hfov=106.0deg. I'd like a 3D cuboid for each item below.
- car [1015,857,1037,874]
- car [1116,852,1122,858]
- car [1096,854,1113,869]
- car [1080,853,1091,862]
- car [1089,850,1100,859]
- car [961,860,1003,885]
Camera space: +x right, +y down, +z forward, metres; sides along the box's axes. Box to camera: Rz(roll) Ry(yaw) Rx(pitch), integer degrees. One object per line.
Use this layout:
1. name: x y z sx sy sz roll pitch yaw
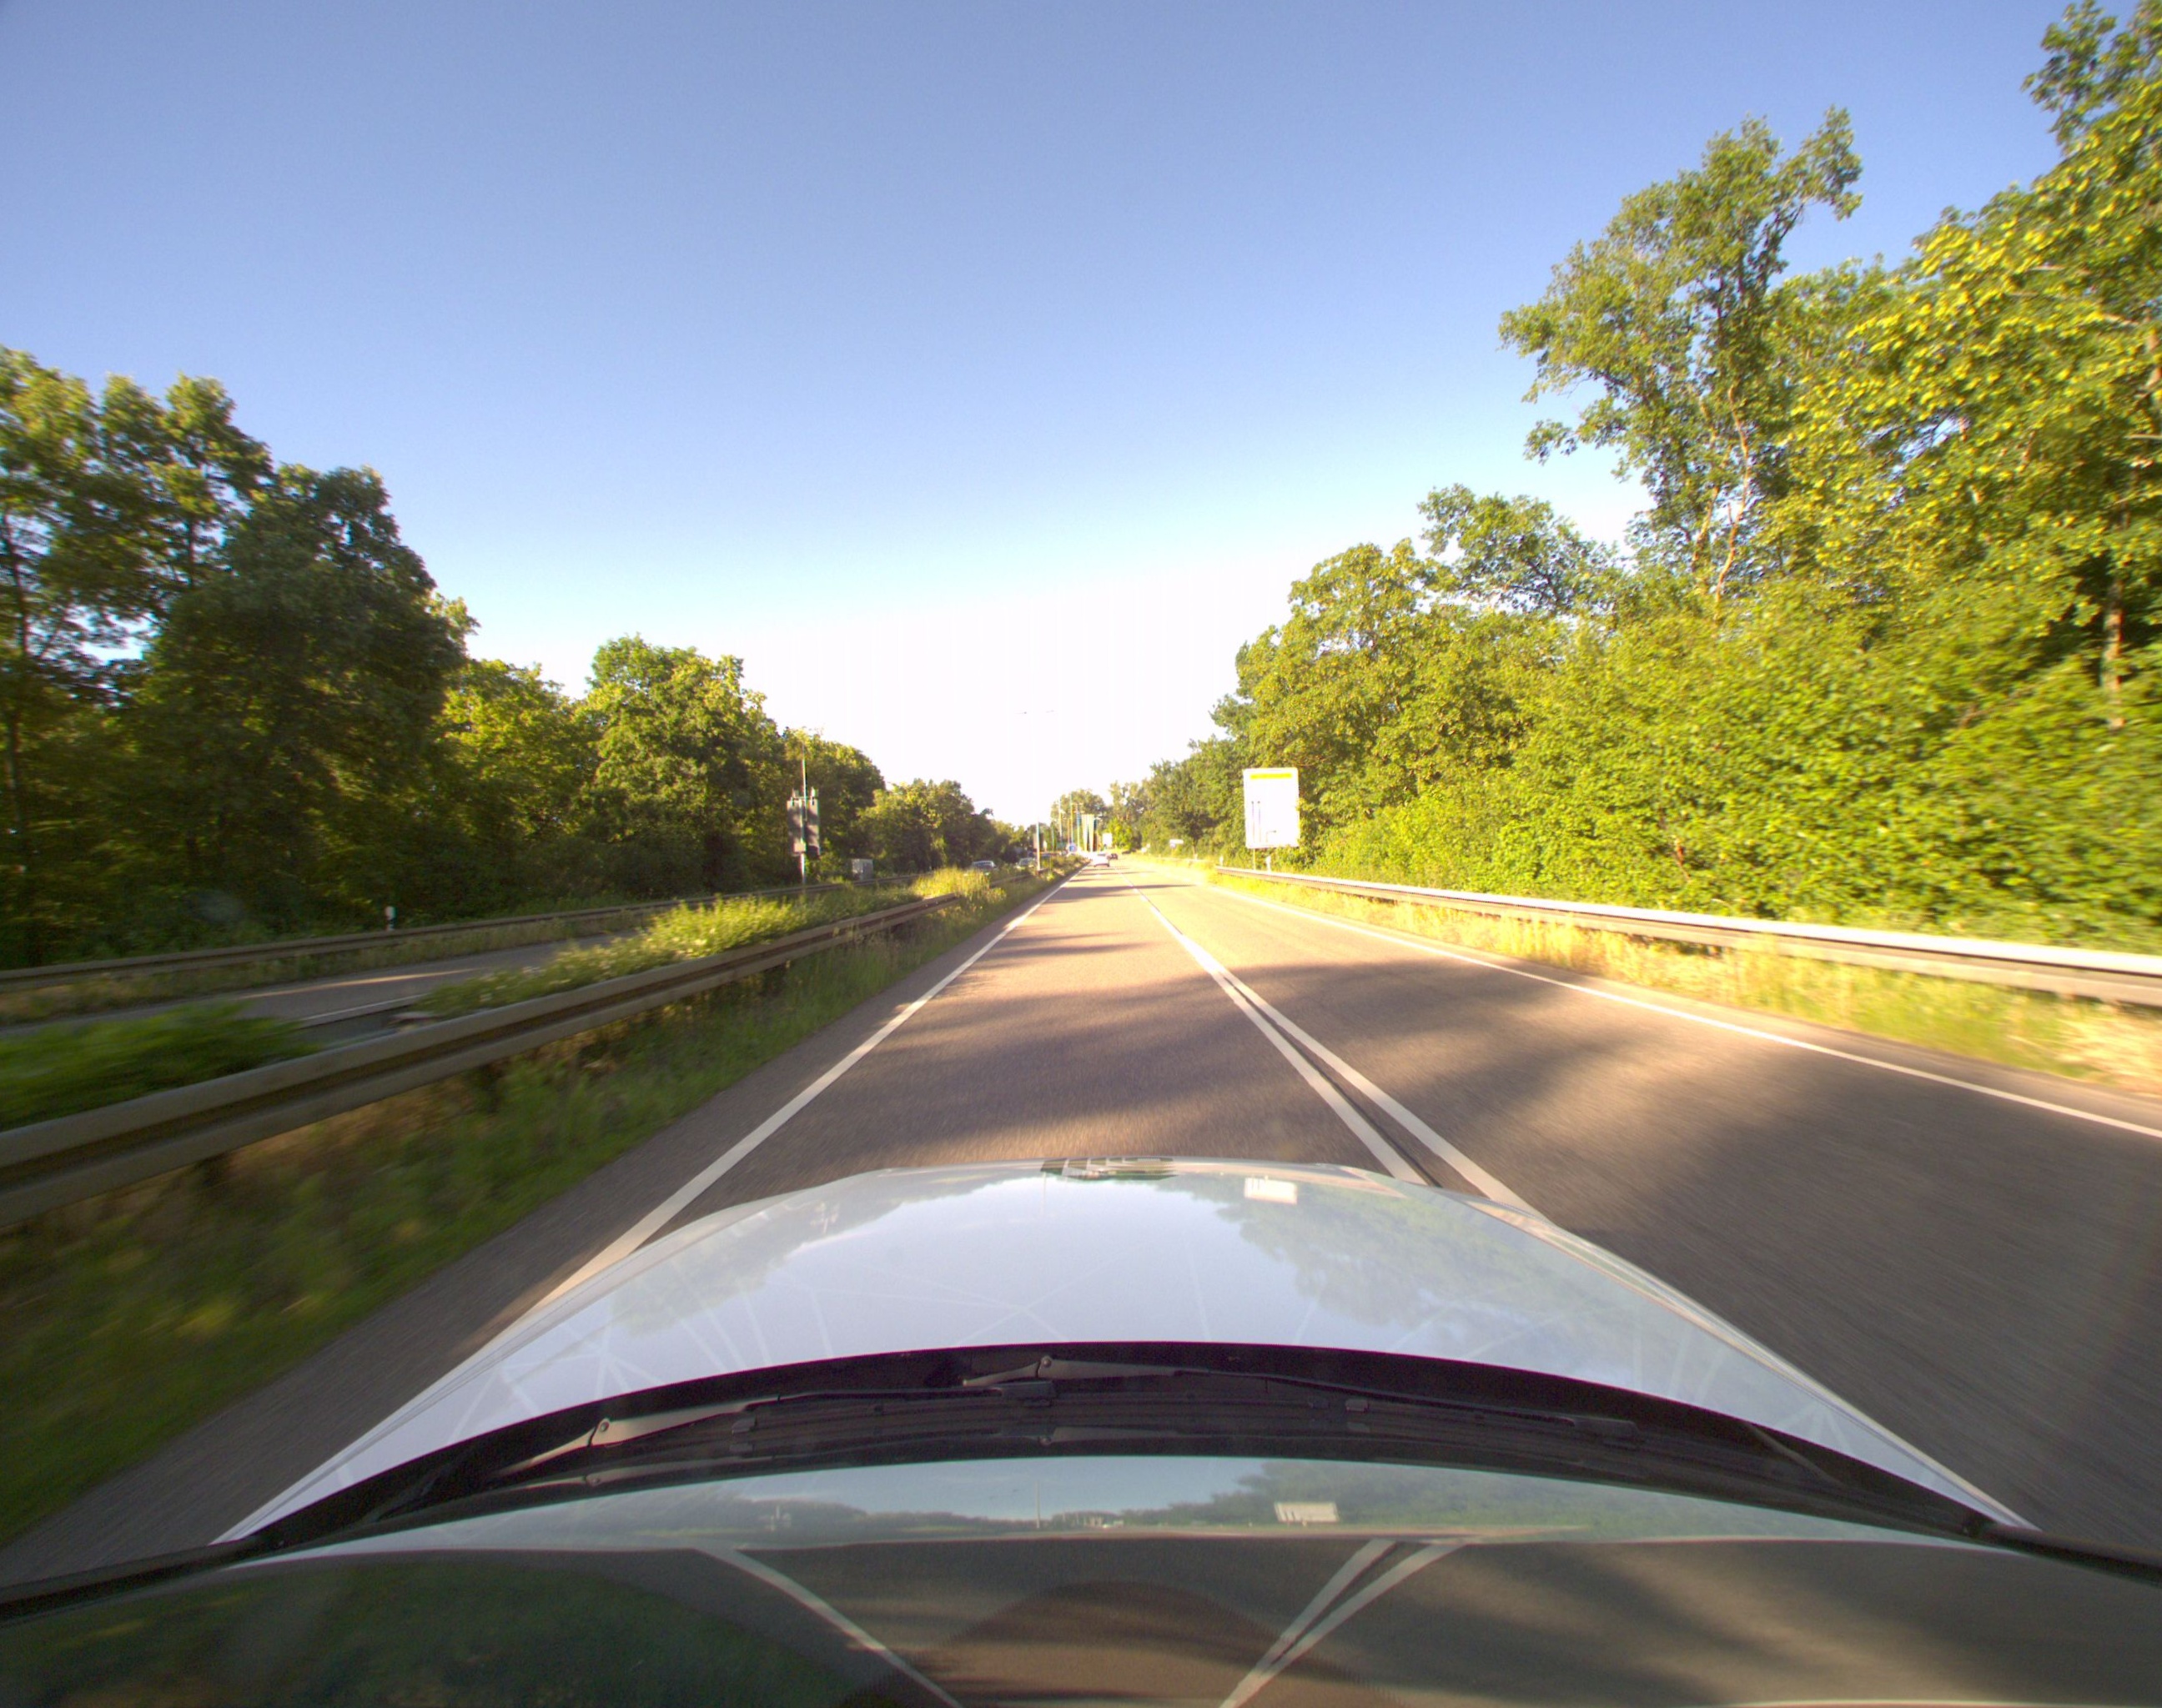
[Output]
1. car: -5.477 1.113 81.888 1.611 1.530 4.612 -3 0 3
2. car: 8.301 0.304 178.764 1.383 1.280 2.987 0 -1 1
3. car: 2.829 0.873 98.007 1.986 1.640 4.129 -3 1 1
4. car: 1.002 0.871 204.720 1.995 2.014 3.983 0 -1 -12
5. car: 3.025 0.184 184.528 1.990 1.879 4.242 -3 1 -4
6. car: -6.260 1.120 51.998 1.774 1.403 4.556 -3 0 3
